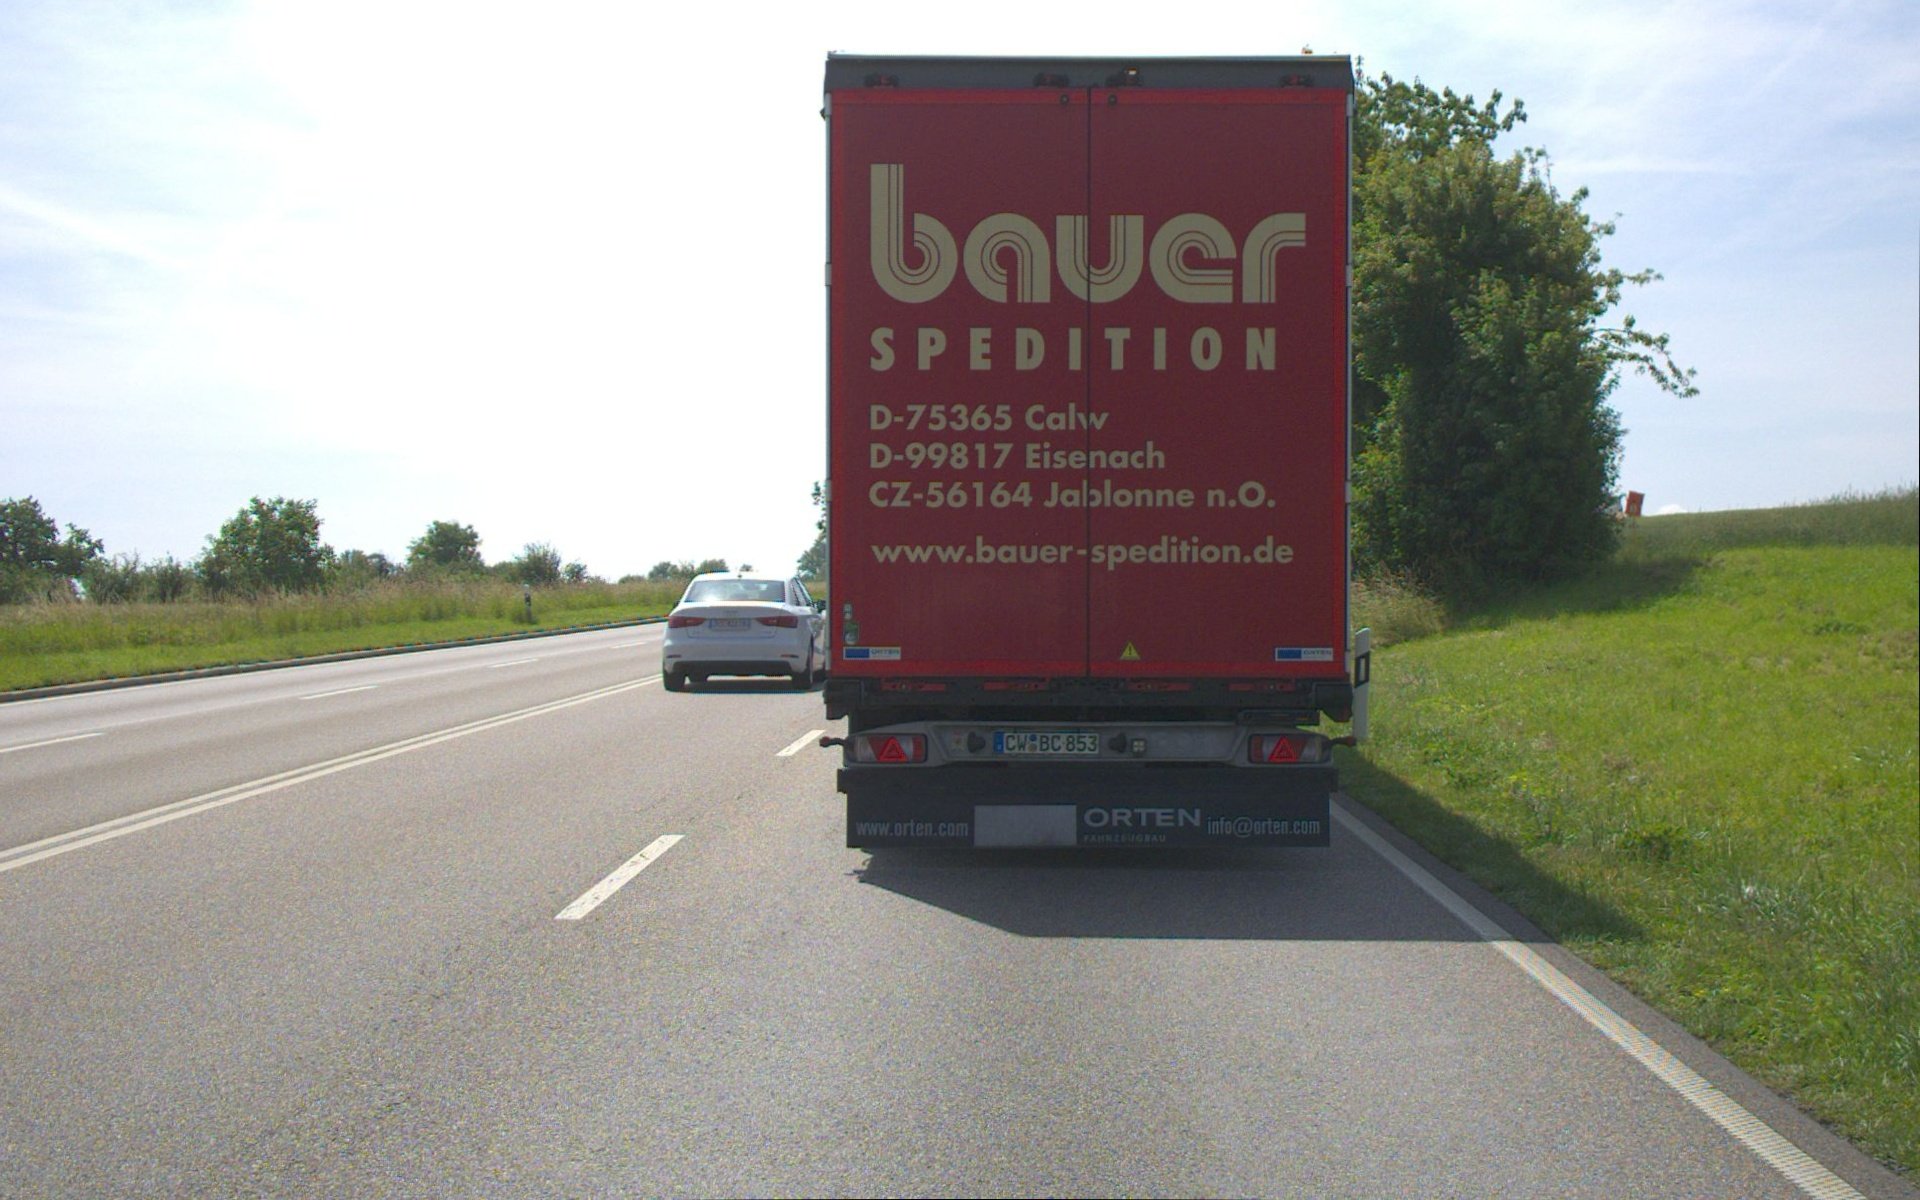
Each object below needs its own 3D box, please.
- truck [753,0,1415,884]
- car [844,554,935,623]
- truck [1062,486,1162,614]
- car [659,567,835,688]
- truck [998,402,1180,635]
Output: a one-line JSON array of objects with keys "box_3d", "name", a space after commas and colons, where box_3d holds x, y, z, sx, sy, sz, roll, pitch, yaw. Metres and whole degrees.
[{"box_3d": [0.498, -0.856, 24.456, 3.007, 4.166, 16.715, 1, 0, -1], "name": "truck"}, {"box_3d": [-1.557, -0.282, 77.741, 1.821, 1.467, 4.789, 1, 1, 1], "name": "car"}, {"box_3d": [5.185, -1.637, 114.064, 3.047, 3.897, 18.396, 0, 1, 3], "name": "truck"}, {"box_3d": [-2.543, 0.299, 42.072, 1.703, 1.371, 4.603, 1, 1, 2], "name": "car"}, {"box_3d": [2.556, -1.463, 65.430, 3.047, 3.897, 15.614, 0, 1, 3], "name": "truck"}]
